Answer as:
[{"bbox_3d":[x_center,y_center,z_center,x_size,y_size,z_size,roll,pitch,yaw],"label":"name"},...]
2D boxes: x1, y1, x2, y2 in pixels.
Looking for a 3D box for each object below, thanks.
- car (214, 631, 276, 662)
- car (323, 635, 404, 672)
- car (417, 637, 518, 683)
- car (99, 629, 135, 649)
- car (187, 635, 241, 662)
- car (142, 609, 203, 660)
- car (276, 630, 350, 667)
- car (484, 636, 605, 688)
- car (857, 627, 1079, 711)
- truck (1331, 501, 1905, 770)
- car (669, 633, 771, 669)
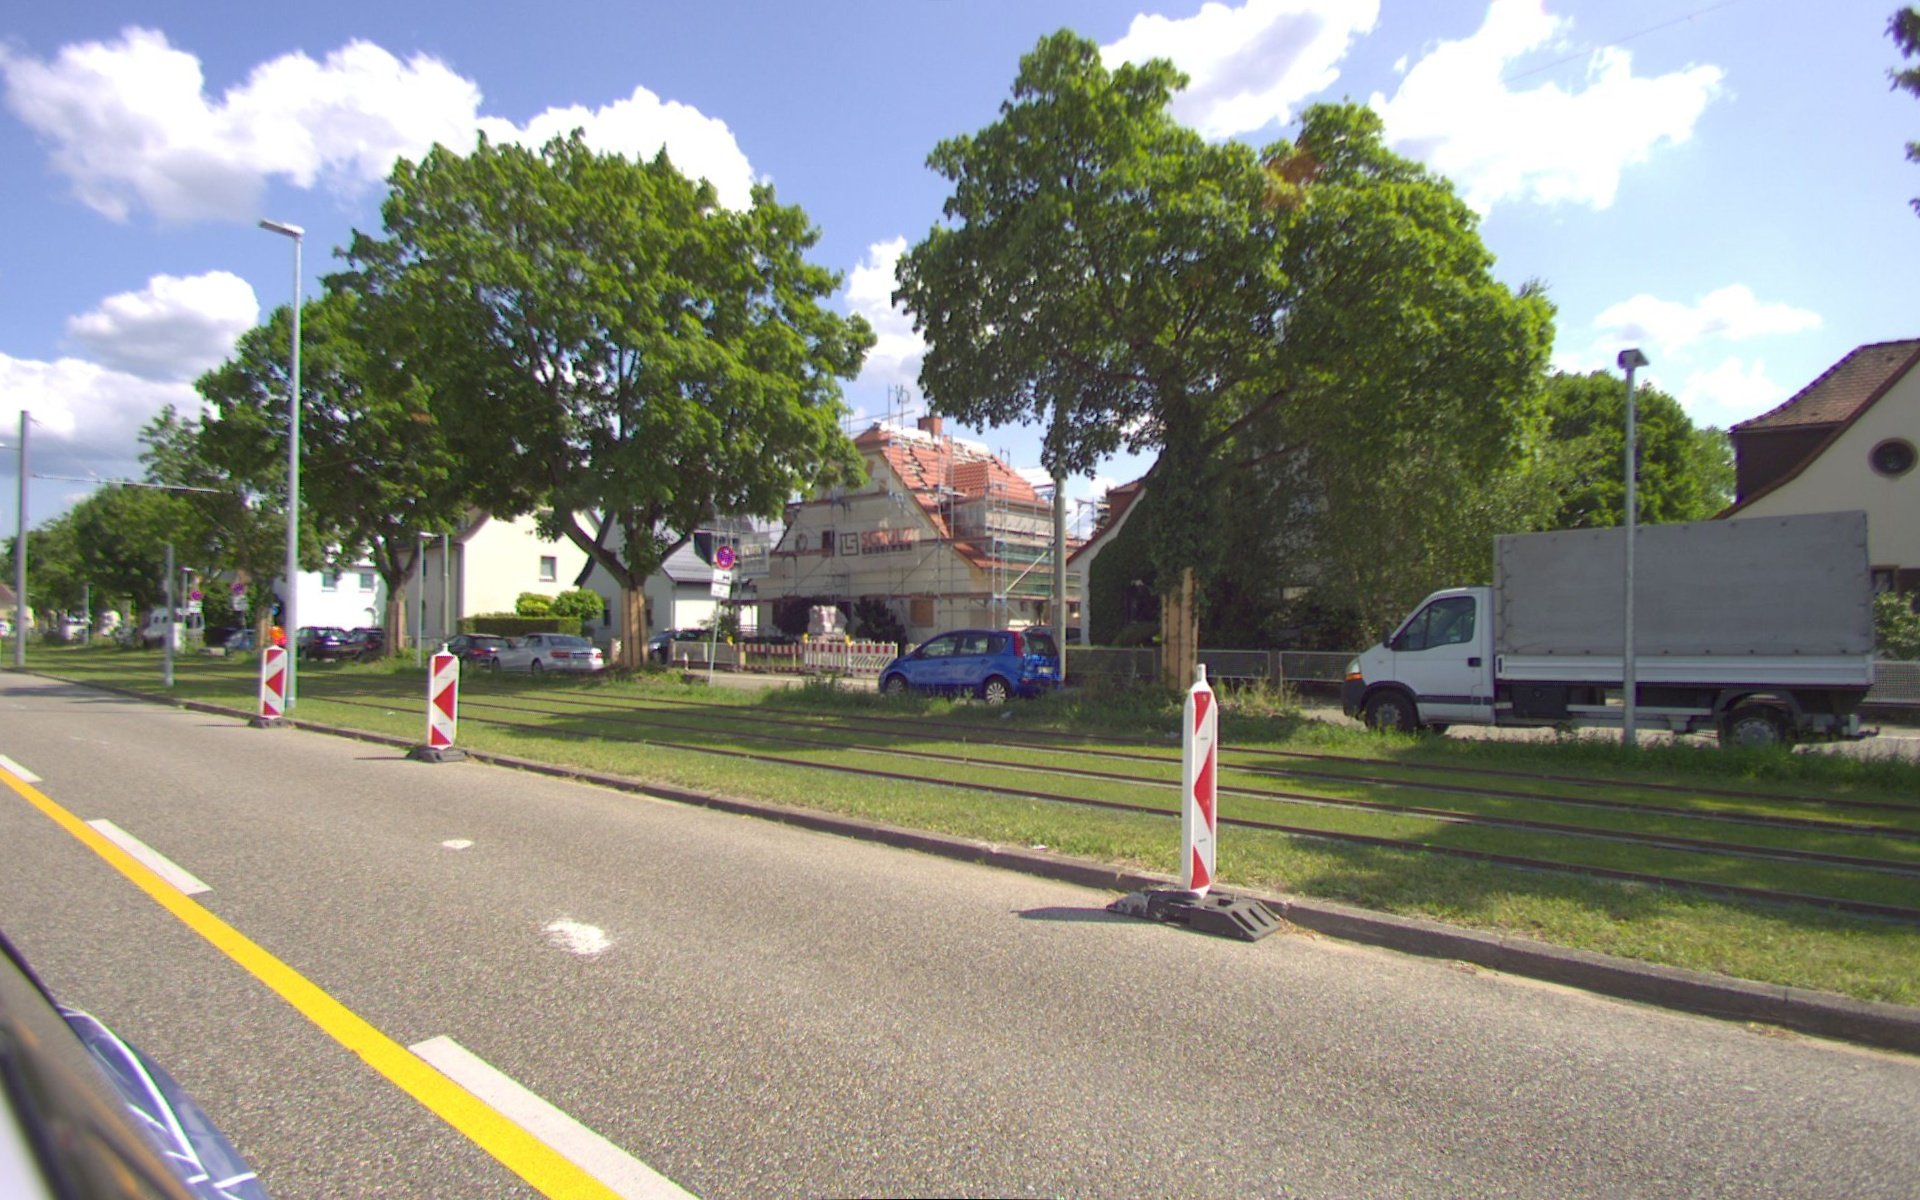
[{"bbox_3d":[-37.488,2.440,53.045,4.403,1.497,1.680,-3,-3,41],"label":"car"},{"bbox_3d":[-25.175,2.264,42.646,4.403,1.497,1.680,-3,-3,41],"label":"car"},{"bbox_3d":[-17.516,2.129,35.888,4.403,1.497,1.680,-3,-3,41],"label":"car"},{"bbox_3d":[-69.099,3.222,82.918,4.404,1.497,1.679,-4,-3,42],"label":"car"},{"bbox_3d":[-44.471,2.888,60.326,4.403,1.497,1.680,-3,-3,41],"label":"car"},{"bbox_3d":[-49.510,2.174,63.603,5.080,3.061,2.108,-3,-3,41],"label":"car"},{"bbox_3d":[-29.489,2.235,46.069,4.403,1.584,1.680,-3,-3,41],"label":"car"},{"bbox_3d":[-13.118,1.942,31.854,4.520,1.497,1.765,-4,-3,42],"label":"car"},{"bbox_3d":[0.070,1.360,20.274,4.403,1.497,1.680,-3,-3,41],"label":"car"},{"bbox_3d":[8.303,0.462,13.397,5.971,2.802,2.242,-2,-3,41],"label":"truck"},{"bbox_3d":[-10.921,2.304,46.205,1.702,1.497,4.345,-3,-3,41],"label":"car"}]
